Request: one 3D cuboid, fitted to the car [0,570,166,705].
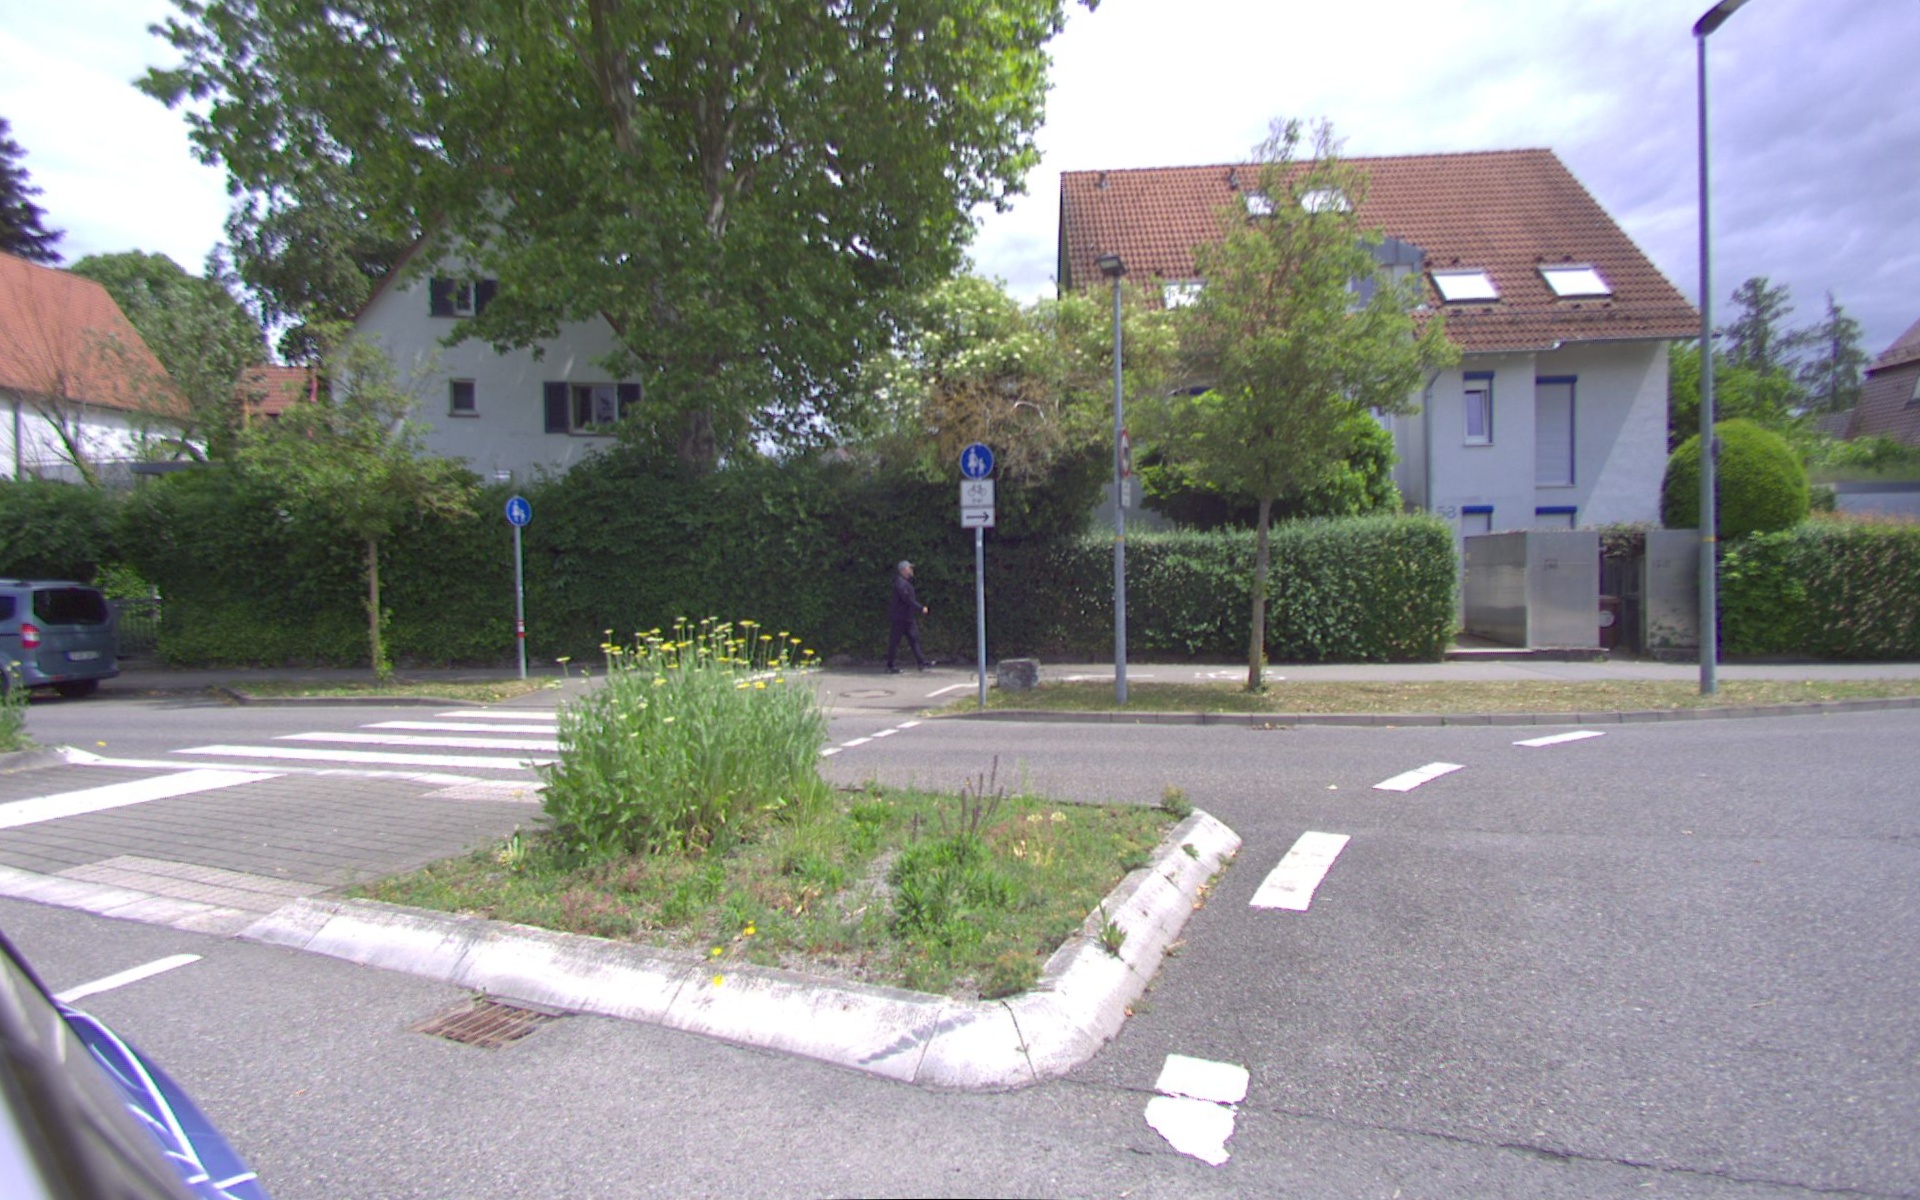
[{"bbox_3d":[-14.770,0.547,14.879,4.399,1.785,2.141,-2,3,-3],"label":"car"}]
